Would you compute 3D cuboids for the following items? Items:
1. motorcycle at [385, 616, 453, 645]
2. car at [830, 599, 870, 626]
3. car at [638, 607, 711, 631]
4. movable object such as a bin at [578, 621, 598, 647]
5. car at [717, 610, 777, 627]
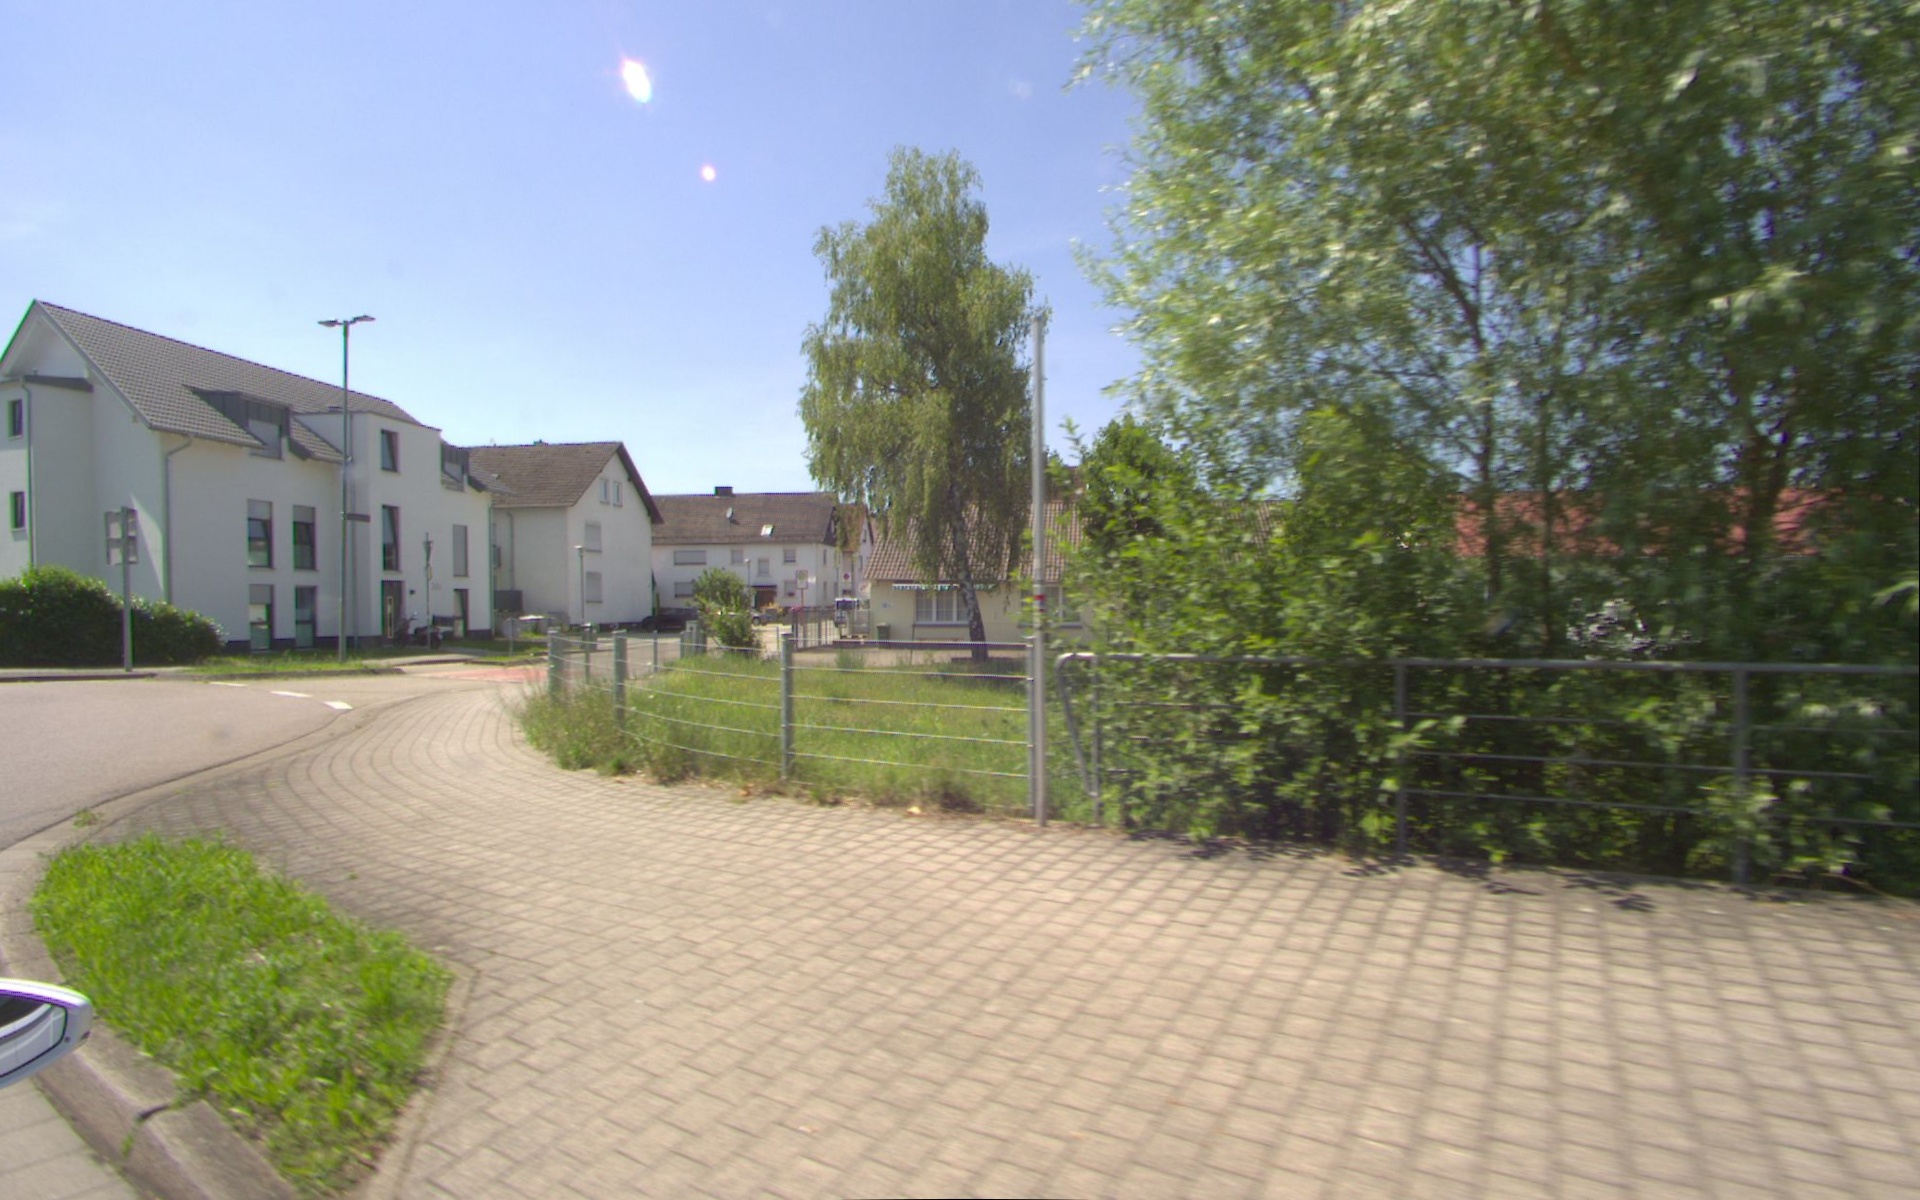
[{"bbox_3d":[-20.128,1.140,37.284,2.324,1.026,0.672,0,-2,11],"label":"motorcycle"},{"bbox_3d":[-7.566,0.884,69.162,1.821,1.810,4.001,0,-2,7],"label":"car"},{"bbox_3d":[-17.192,1.121,60.408,3.922,1.402,1.660,0,0,5],"label":"car"},{"bbox_3d":[-15.810,1.435,42.595,0.635,1.098,0.458,1,1,15],"label":"movable object such as a bin"},{"bbox_3d":[-15.575,1.322,73.243,3.922,1.206,1.840,0,0,5],"label":"car"}]
